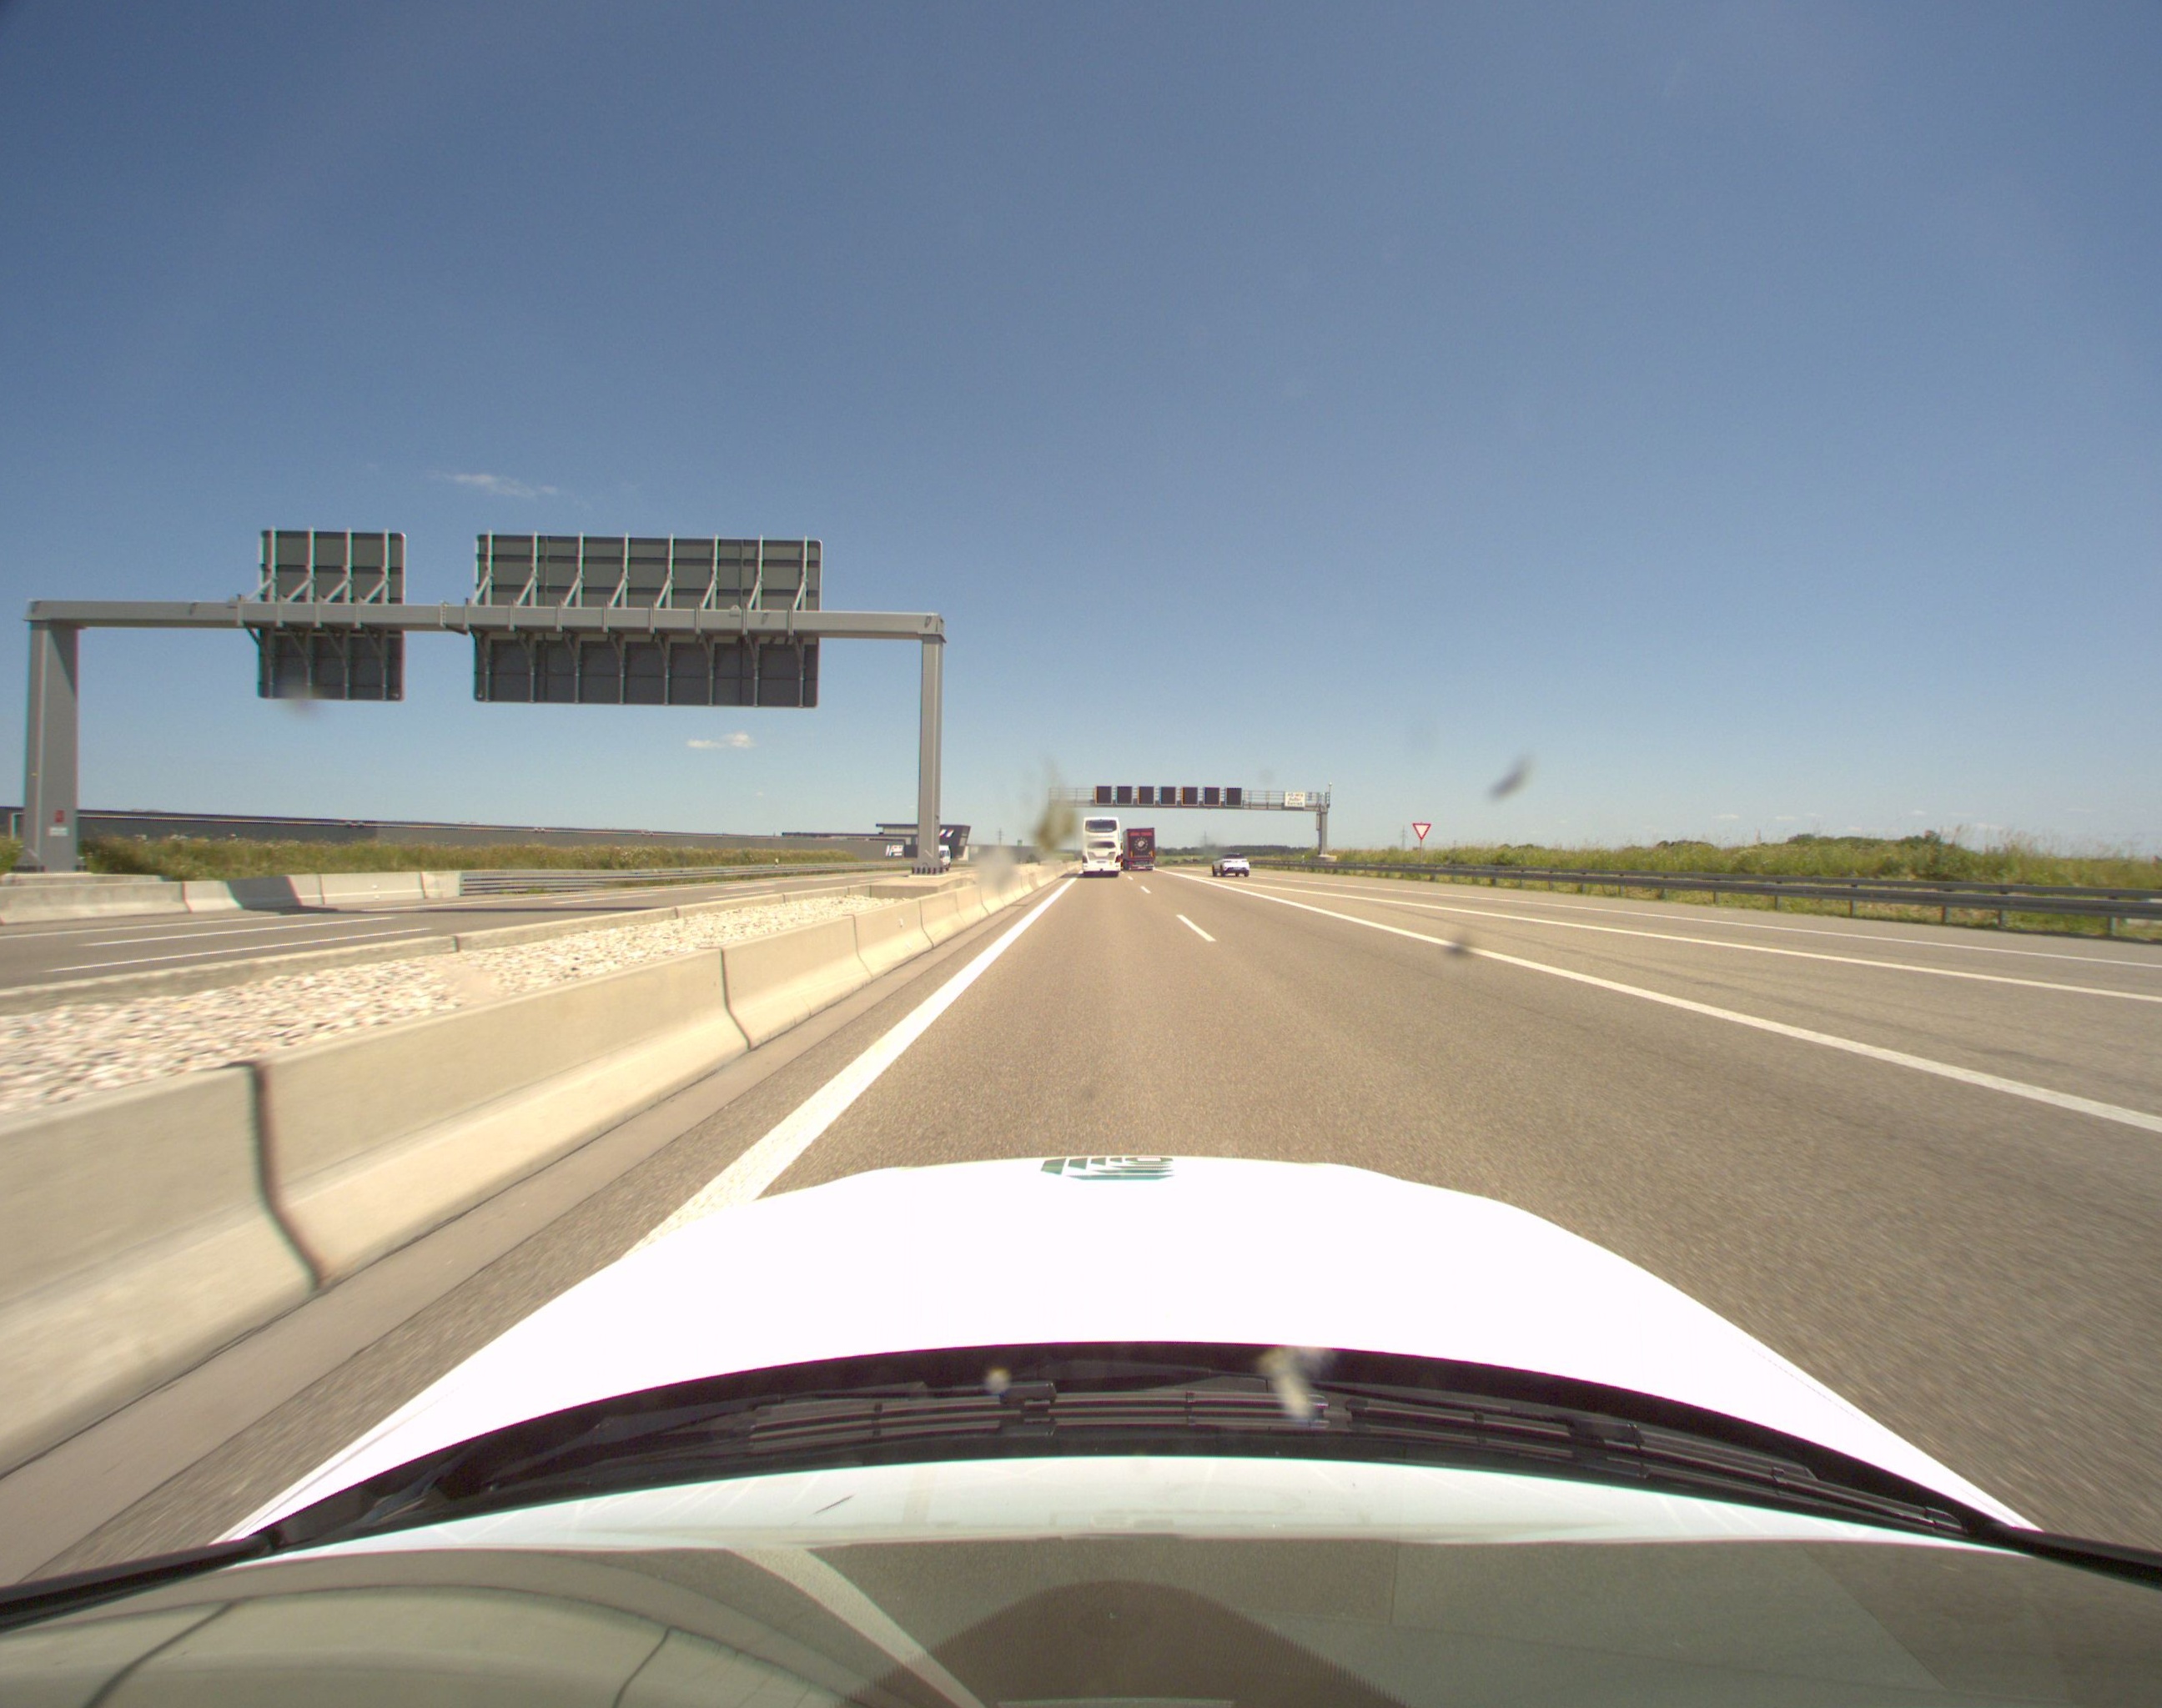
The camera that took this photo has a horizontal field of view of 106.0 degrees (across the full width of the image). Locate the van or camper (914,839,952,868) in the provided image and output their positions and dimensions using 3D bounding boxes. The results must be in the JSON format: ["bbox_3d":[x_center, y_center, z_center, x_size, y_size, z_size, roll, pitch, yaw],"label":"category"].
[{"bbox_3d":[-13.882,-0.043,76.655,2.311,2.558,6.316,0,0,1],"label":"van or camper"}]

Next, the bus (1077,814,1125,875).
[{"bbox_3d":[1.308,-0.684,58.034,2.972,3.974,9.099,0,1,-2],"label":"bus"}]

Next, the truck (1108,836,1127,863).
[{"bbox_3d":[5.312,-0.659,119.496,2.429,3.789,6.493,0,0,0],"label":"truck"}]

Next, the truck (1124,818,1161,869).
[{"bbox_3d":[5.976,-0.872,81.262,3.366,4.464,13.574,0,-2,3],"label":"truck"}]

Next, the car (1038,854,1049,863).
[{"bbox_3d":[-8.790,1.067,190.204,2.140,2.013,5.383,0,0,2],"label":"car"}]

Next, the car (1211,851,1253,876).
[{"bbox_3d":[9.887,0.596,53.665,1.886,1.529,4.258,0,0,-2],"label":"car"}]
